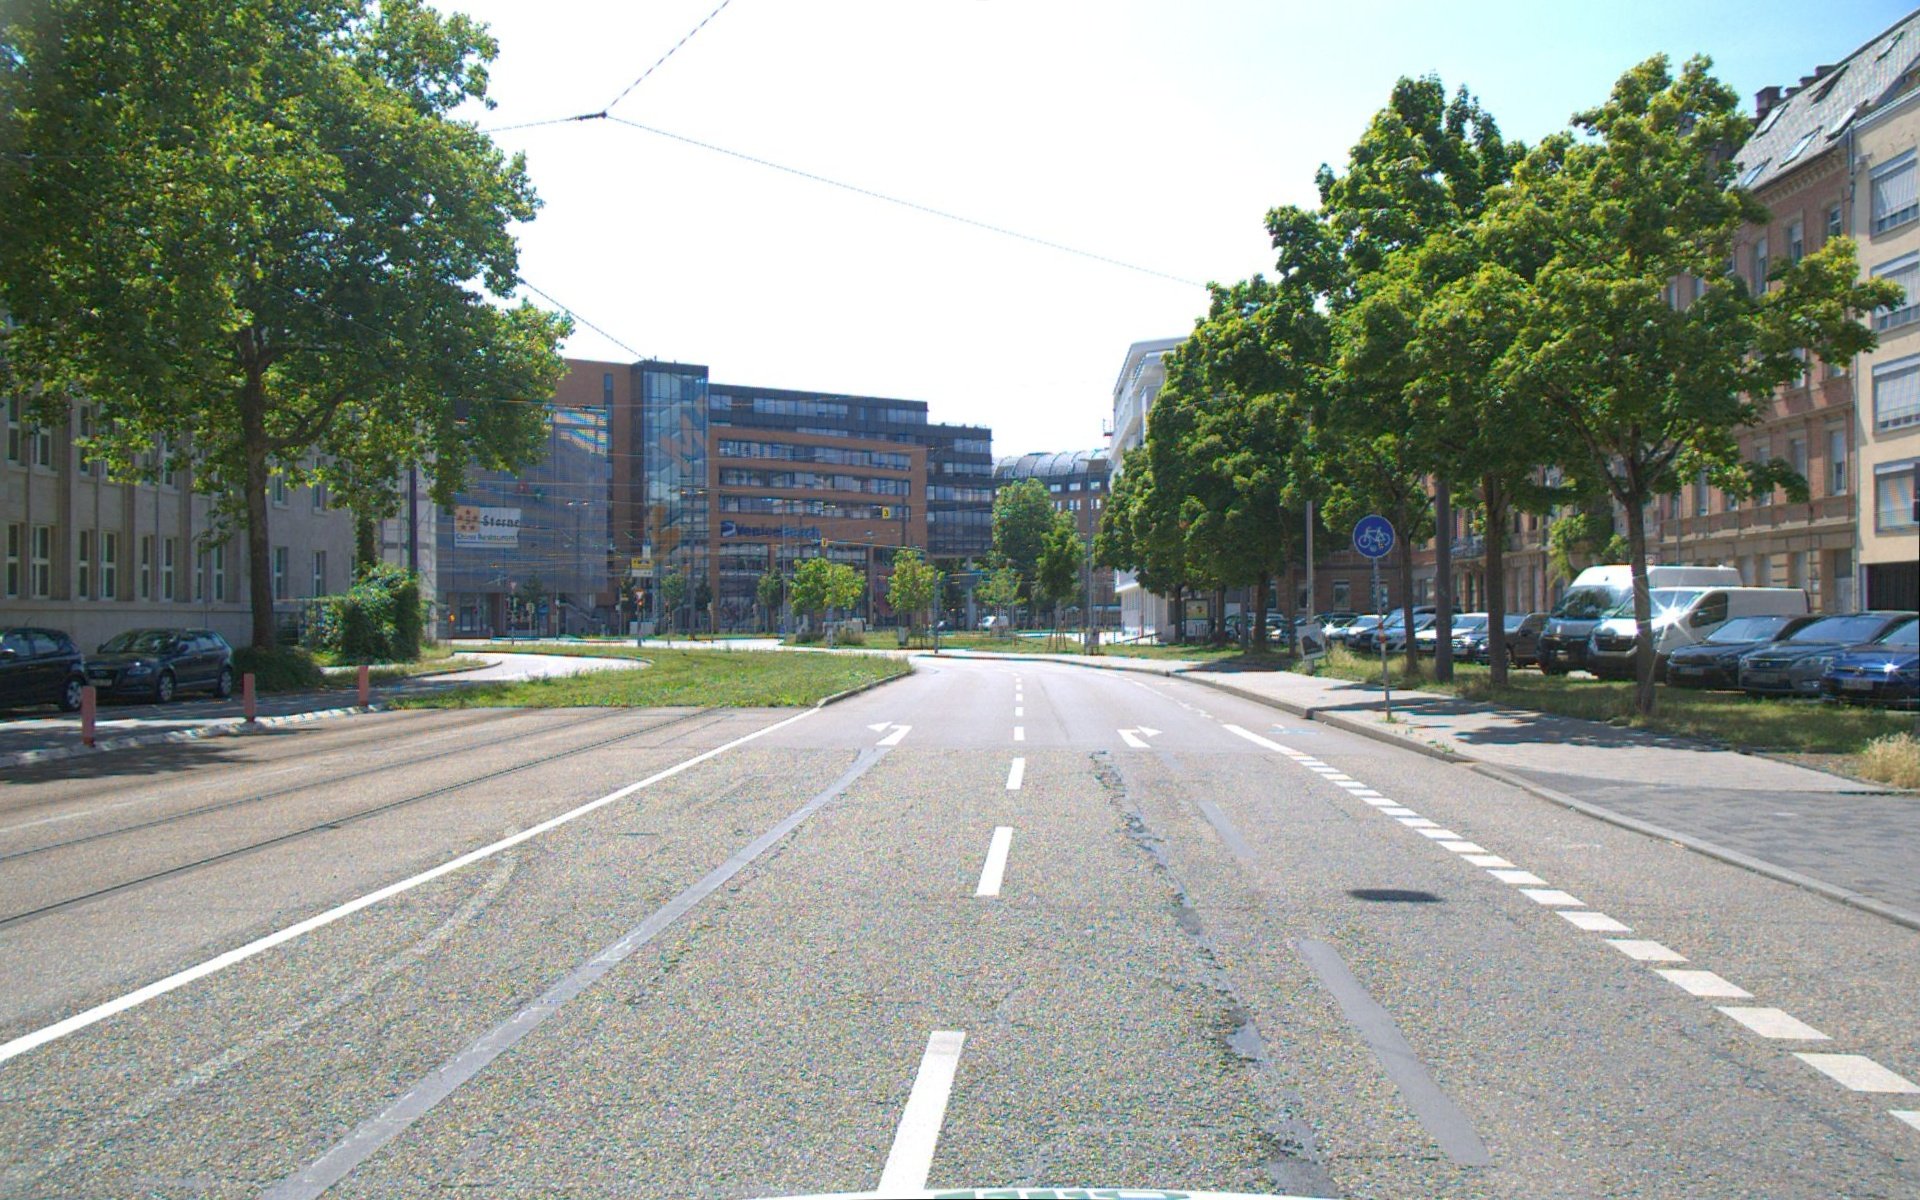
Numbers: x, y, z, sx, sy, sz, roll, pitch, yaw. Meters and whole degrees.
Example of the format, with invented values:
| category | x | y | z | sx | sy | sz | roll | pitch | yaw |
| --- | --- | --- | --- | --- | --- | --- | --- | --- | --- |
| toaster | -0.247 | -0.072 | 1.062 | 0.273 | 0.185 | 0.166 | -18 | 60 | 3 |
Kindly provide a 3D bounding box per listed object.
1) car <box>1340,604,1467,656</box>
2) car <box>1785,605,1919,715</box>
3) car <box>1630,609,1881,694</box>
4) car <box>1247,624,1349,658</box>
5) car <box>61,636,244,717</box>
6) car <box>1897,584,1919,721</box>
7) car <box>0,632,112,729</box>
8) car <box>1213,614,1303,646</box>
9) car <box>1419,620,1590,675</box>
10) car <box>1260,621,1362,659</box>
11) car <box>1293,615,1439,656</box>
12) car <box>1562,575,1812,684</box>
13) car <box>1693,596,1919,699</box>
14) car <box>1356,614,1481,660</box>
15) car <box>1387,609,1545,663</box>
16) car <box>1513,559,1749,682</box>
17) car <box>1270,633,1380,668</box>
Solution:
| category | x | y | z | sx | sy | sz | roll | pitch | yaw |
| --- | --- | --- | --- | --- | --- | --- | --- | --- | --- |
| car | 15.342 | 1.049 | 57.254 | 3.935 | 1.691 | 1.957 | 2 | -1 | -24 |
| car | 13.722 | 0.841 | 23.024 | 3.927 | 1.424 | 1.813 | 2 | -1 | -19 |
| car | 14.159 | 0.920 | 29.459 | 3.927 | 1.411 | 1.813 | 2 | -1 | -19 |
| car | 14.851 | 1.794 | 72.646 | 4.277 | 1.400 | 1.570 | 2 | -1 | -24 |
| car | -15.854 | 1.466 | 32.725 | 1.556 | 1.449 | 4.321 | 1 | -1 | -2 |
| car | 13.847 | 0.685 | 20.085 | 4.333 | 1.661 | 1.988 | 2 | -1 | -20 |
| car | -16.101 | 1.303 | 27.370 | 1.726 | 1.509 | 4.324 | 1 | -1 | 3 |
| car | 16.500 | 1.673 | 91.505 | 4.797 | 1.629 | 1.821 | 2 | -1 | -26 |
| car | 14.568 | 1.274 | 44.204 | 4.371 | 1.362 | 1.952 | 2 | -1 | -31 |
| car | 14.906 | 1.701 | 70.206 | 4.028 | 1.495 | 1.783 | 2 | -1 | -26 |
| car | 14.578 | 1.279 | 59.416 | 4.701 | 1.336 | 2.137 | 2 | -1 | -20 |
| car | 14.513 | 0.615 | 32.983 | 4.775 | 2.008 | 2.058 | 2 | -1 | -27 |
| car | 14.167 | 0.768 | 26.376 | 4.554 | 1.523 | 1.952 | 2 | -1 | -22 |
| car | 15.018 | 1.224 | 54.137 | 3.945 | 1.425 | 1.695 | 2 | -1 | -31 |
| car | 14.619 | 1.042 | 47.679 | 4.638 | 1.452 | 1.948 | 2 | -2 | -35 |
| car | 14.816 | 0.501 | 36.385 | 5.487 | 2.504 | 2.211 | 2 | -2 | -35 |
| car | 14.788 | 2.036 | 67.042 | 3.928 | 1.336 | 1.961 | 2 | -1 | -20 |
